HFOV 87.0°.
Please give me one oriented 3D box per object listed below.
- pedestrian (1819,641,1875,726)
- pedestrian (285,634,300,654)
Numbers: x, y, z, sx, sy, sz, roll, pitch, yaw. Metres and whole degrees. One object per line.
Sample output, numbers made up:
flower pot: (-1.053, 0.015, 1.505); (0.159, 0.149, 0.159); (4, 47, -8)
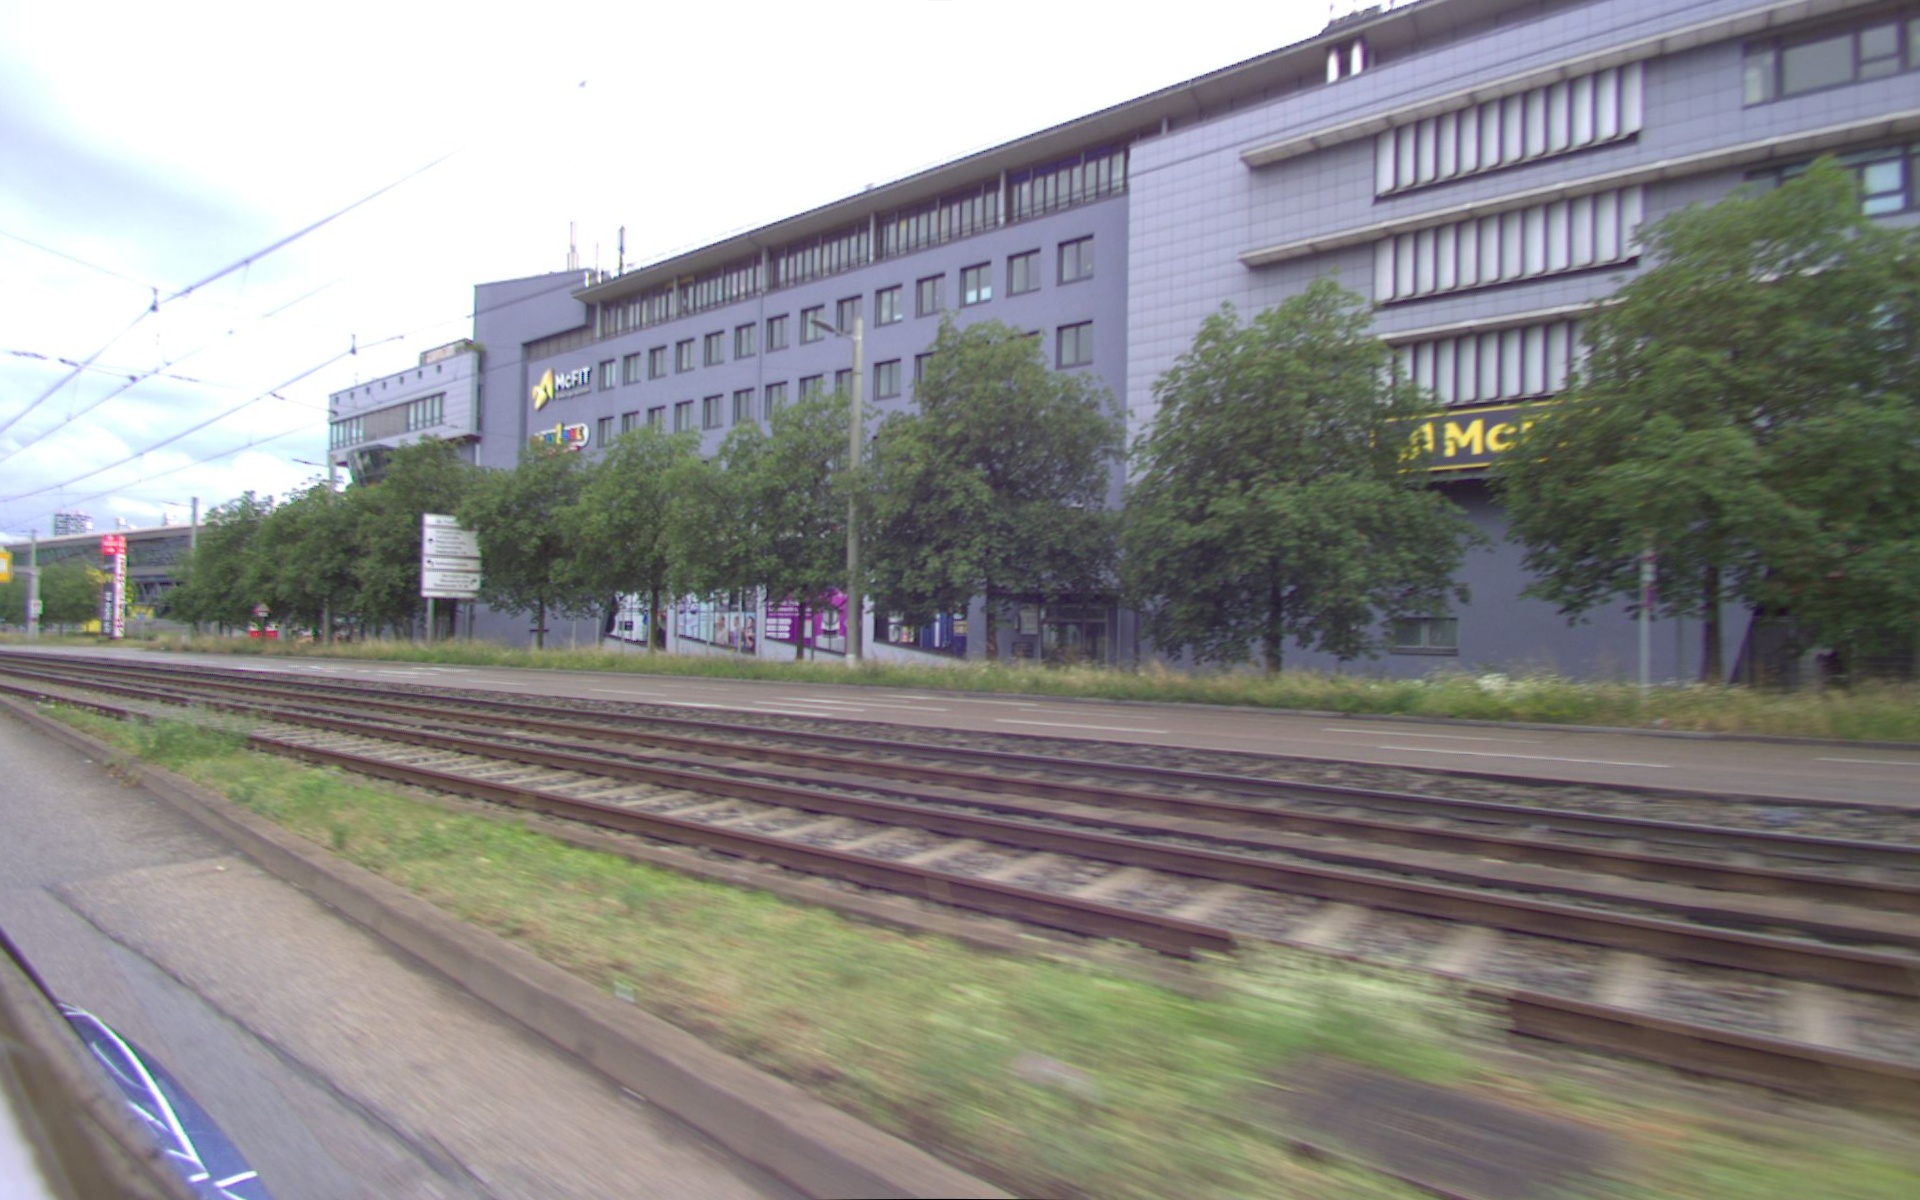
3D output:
pedestrian: (19.241, 1.787, 21.972); (0.877, 1.768, 0.717); (-1, 0, 41)
pedestrian: (-55.931, 3.696, 84.837); (0.578, 1.692, 0.802); (-1, -3, 27)
